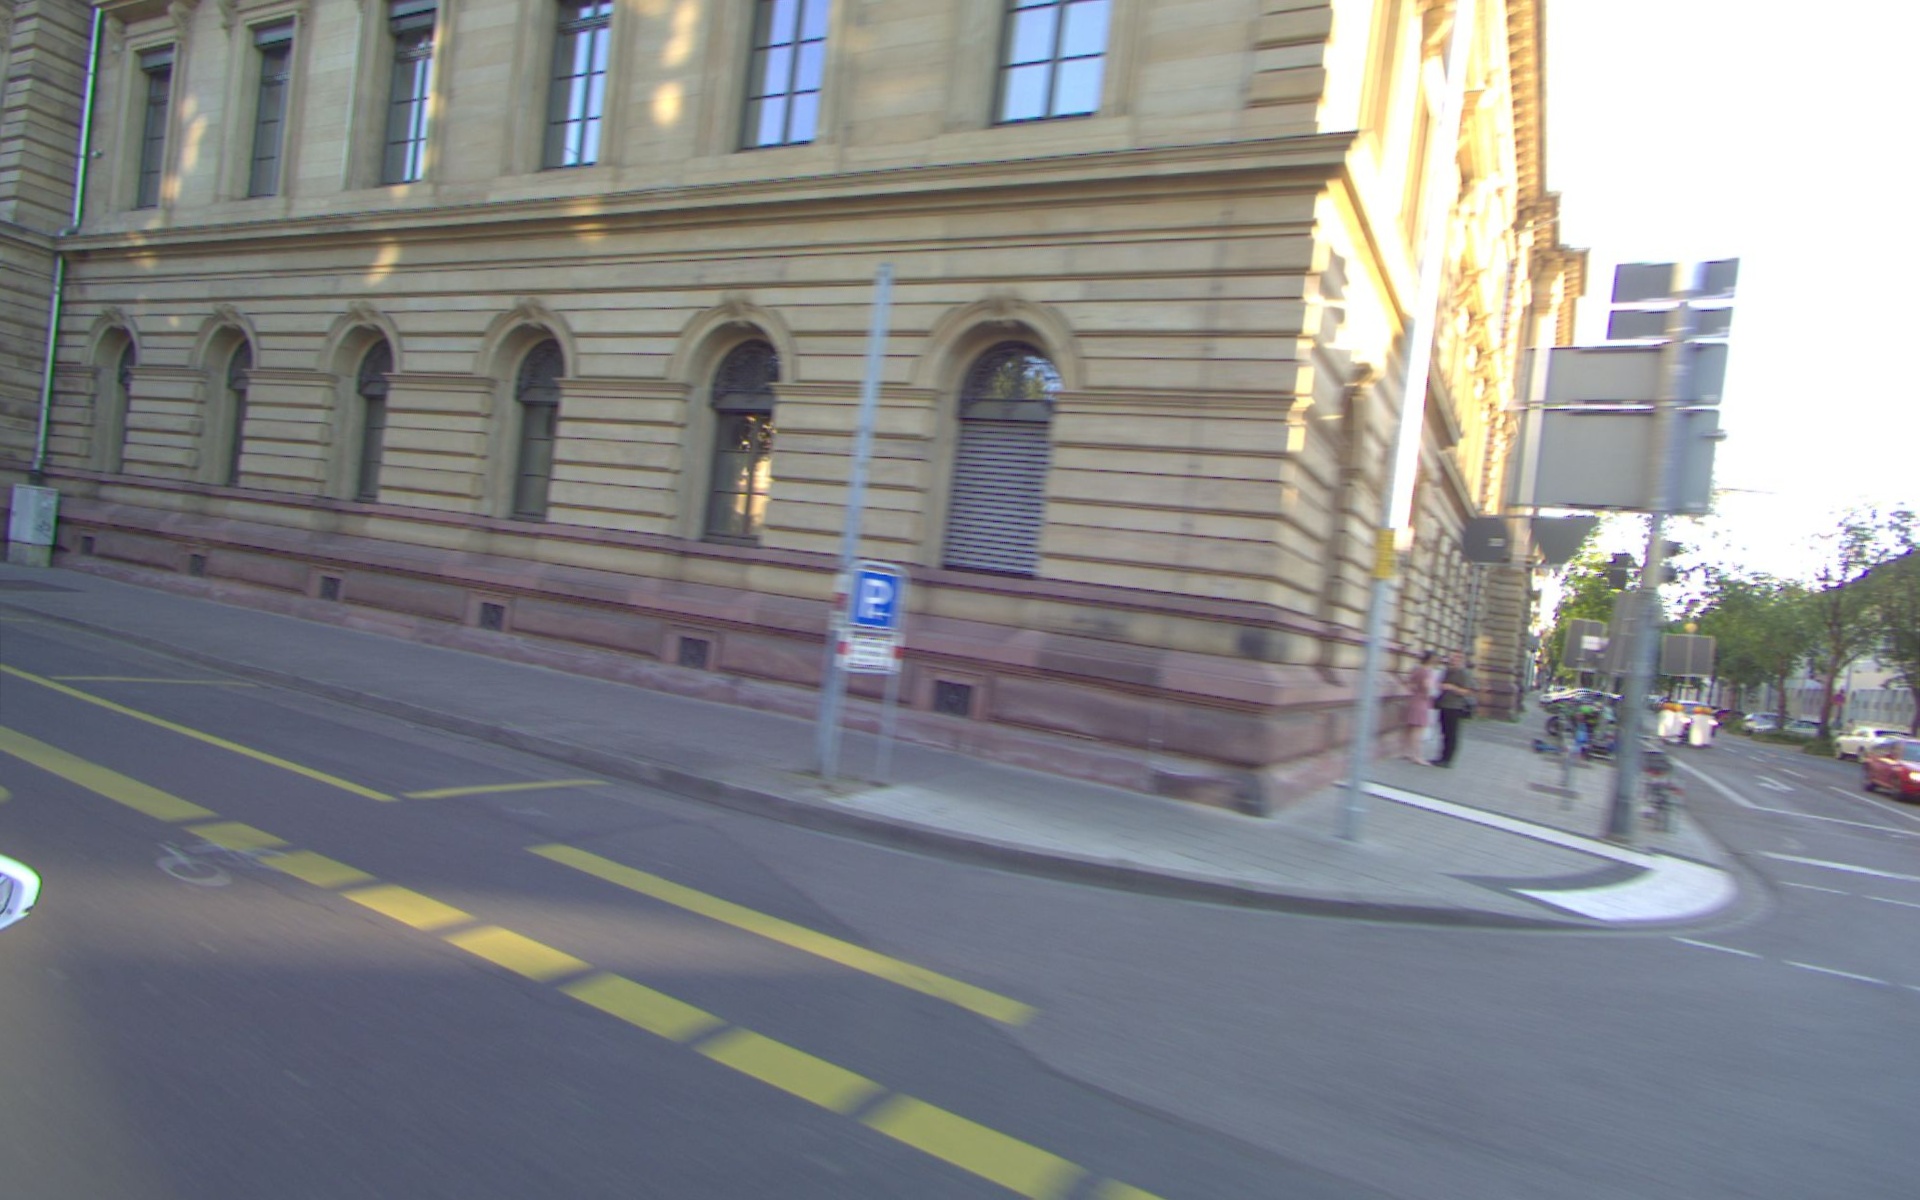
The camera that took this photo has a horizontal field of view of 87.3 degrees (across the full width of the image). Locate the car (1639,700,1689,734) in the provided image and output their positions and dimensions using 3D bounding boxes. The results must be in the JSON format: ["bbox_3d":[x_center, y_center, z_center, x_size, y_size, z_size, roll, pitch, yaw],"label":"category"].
[{"bbox_3d":[42.027,6.952,60.110,1.978,1.641,4.011,5,-1,30],"label":"car"}]

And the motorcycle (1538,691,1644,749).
[{"bbox_3d":[18.082,3.425,28.875,0.876,1.218,2.291,7,1,-34],"label":"motorcycle"}]

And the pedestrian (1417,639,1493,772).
[{"bbox_3d":[7.391,1.565,15.025,0.530,1.881,0.617,6,1,-30],"label":"pedestrian"}]

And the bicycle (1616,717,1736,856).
[{"bbox_3d":[8.377,2.131,11.861,0.848,1.223,2.050,12,4,33],"label":"bicycle"}]

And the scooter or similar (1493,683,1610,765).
[{"bbox_3d":[12.189,2.529,20.751,1.880,1.343,0.921,7,1,35],"label":"scooter or similar"}]

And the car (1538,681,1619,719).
[{"bbox_3d":[38.574,6.227,62.845,4.094,1.705,1.996,7,0,32],"label":"car"}]

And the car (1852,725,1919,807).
[{"bbox_3d":[22.226,3.852,22.923,1.978,1.529,4.009,5,0,30],"label":"car"}]

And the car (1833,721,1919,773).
[{"bbox_3d":[41.669,6.634,45.740,1.966,1.816,3.904,7,0,29],"label":"car"}]

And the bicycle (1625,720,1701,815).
[{"bbox_3d":[10.390,2.442,14.916,0.684,1.159,1.725,11,2,33],"label":"bicycle"}]

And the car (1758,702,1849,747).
[{"bbox_3d":[50.985,7.505,60.904,3.939,2.038,1.993,7,0,37],"label":"car"}]

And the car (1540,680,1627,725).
[{"bbox_3d":[32.816,5.358,52.994,3.662,1.727,1.880,7,0,33],"label":"car"}]

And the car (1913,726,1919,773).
[{"bbox_3d":[38.063,5.907,38.010,1.966,1.816,3.902,7,0,31],"label":"car"}]

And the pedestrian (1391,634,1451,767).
[{"bbox_3d":[6.811,1.477,14.862,0.420,1.881,0.449,7,1,-7],"label":"pedestrian"}]

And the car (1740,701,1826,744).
[{"bbox_3d":[52.558,7.824,64.358,3.939,2.038,1.993,7,0,37],"label":"car"}]
